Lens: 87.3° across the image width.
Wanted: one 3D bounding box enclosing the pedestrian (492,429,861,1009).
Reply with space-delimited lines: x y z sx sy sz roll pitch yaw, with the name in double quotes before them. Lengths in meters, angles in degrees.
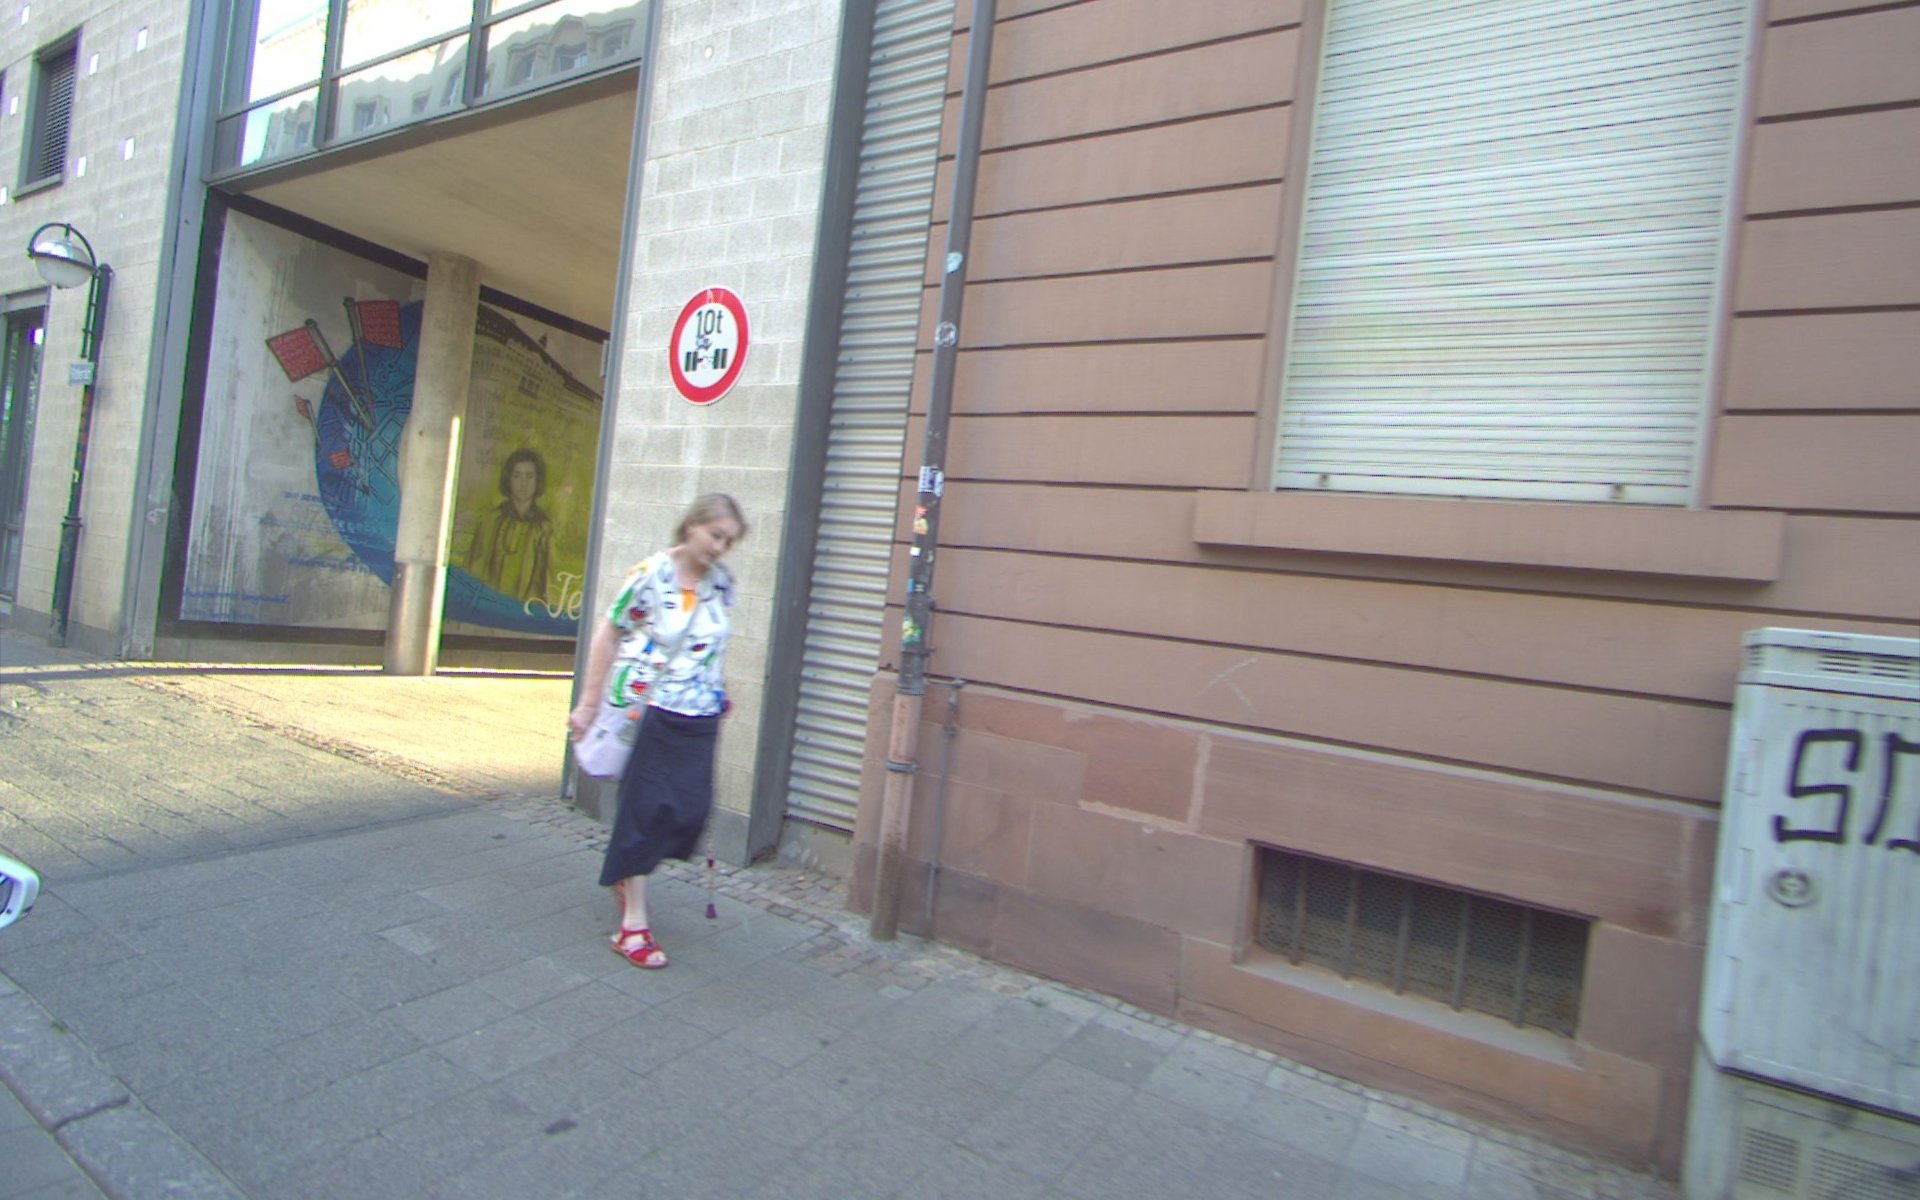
"pedestrian" -1.049 0.362 3.747 0.883 1.827 0.844 7 3 37
